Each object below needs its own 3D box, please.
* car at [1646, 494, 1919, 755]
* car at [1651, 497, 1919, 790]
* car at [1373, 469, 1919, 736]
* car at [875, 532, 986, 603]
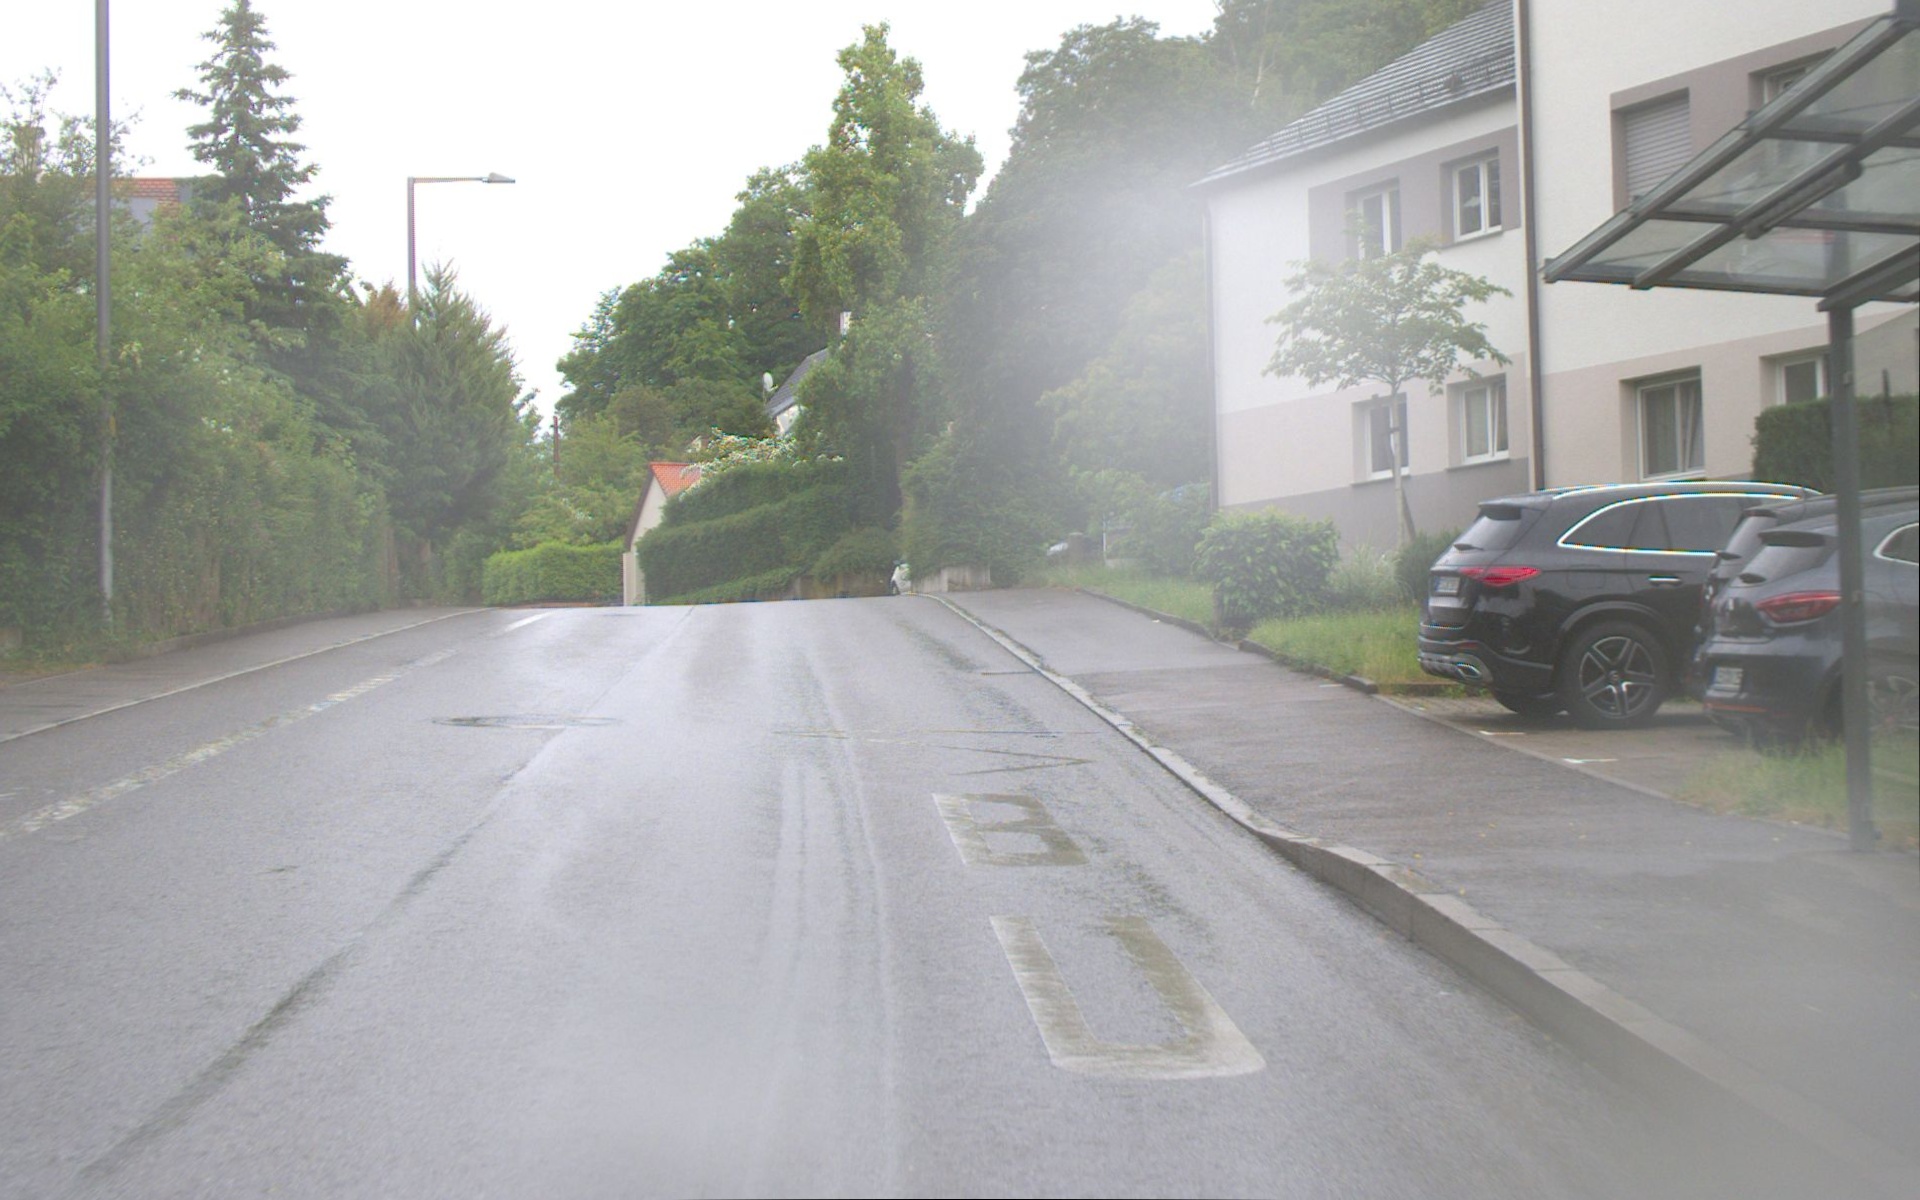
[{"bbox_3d":[6.158,0.096,21.212,3.438,1.491,1.668,-2,2,-3],"label":"car"},{"bbox_3d":[5.824,0.164,18.577,3.743,1.453,1.725,-2,2,-4],"label":"car"},{"bbox_3d":[5.313,-0.039,23.727,4.525,1.655,1.856,-2,2,-9],"label":"car"},{"bbox_3d":[-0.764,-0.779,85.230,1.531,1.530,3.846,-6,1,-18],"label":"car"}]
